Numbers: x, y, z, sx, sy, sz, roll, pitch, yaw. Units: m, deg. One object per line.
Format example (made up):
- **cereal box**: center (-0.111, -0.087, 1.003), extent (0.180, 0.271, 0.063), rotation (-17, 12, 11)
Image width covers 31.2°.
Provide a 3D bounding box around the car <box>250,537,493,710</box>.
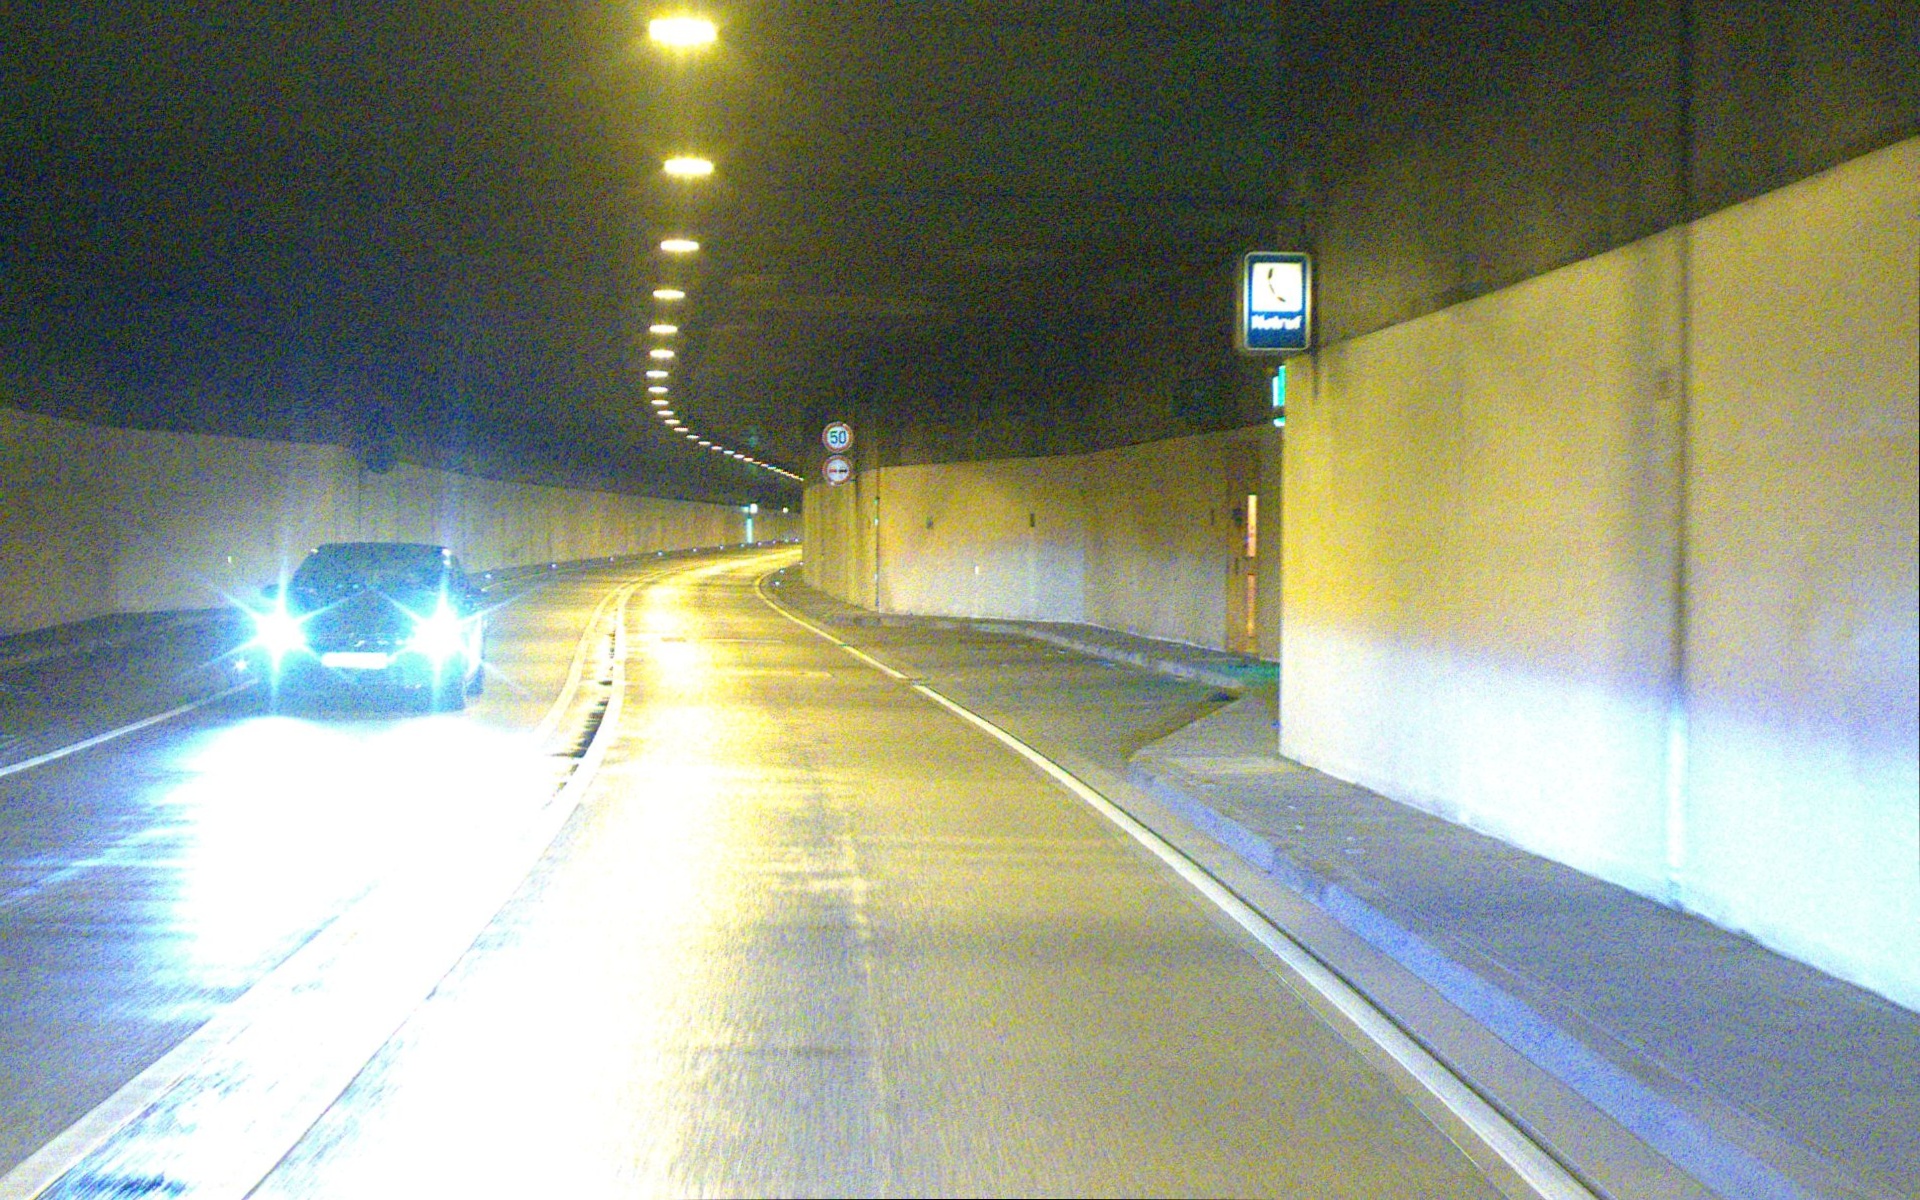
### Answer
- **car**: center (-5.257, 0.161, 31.130), extent (1.707, 1.411, 4.118), rotation (1, 1, -4)
